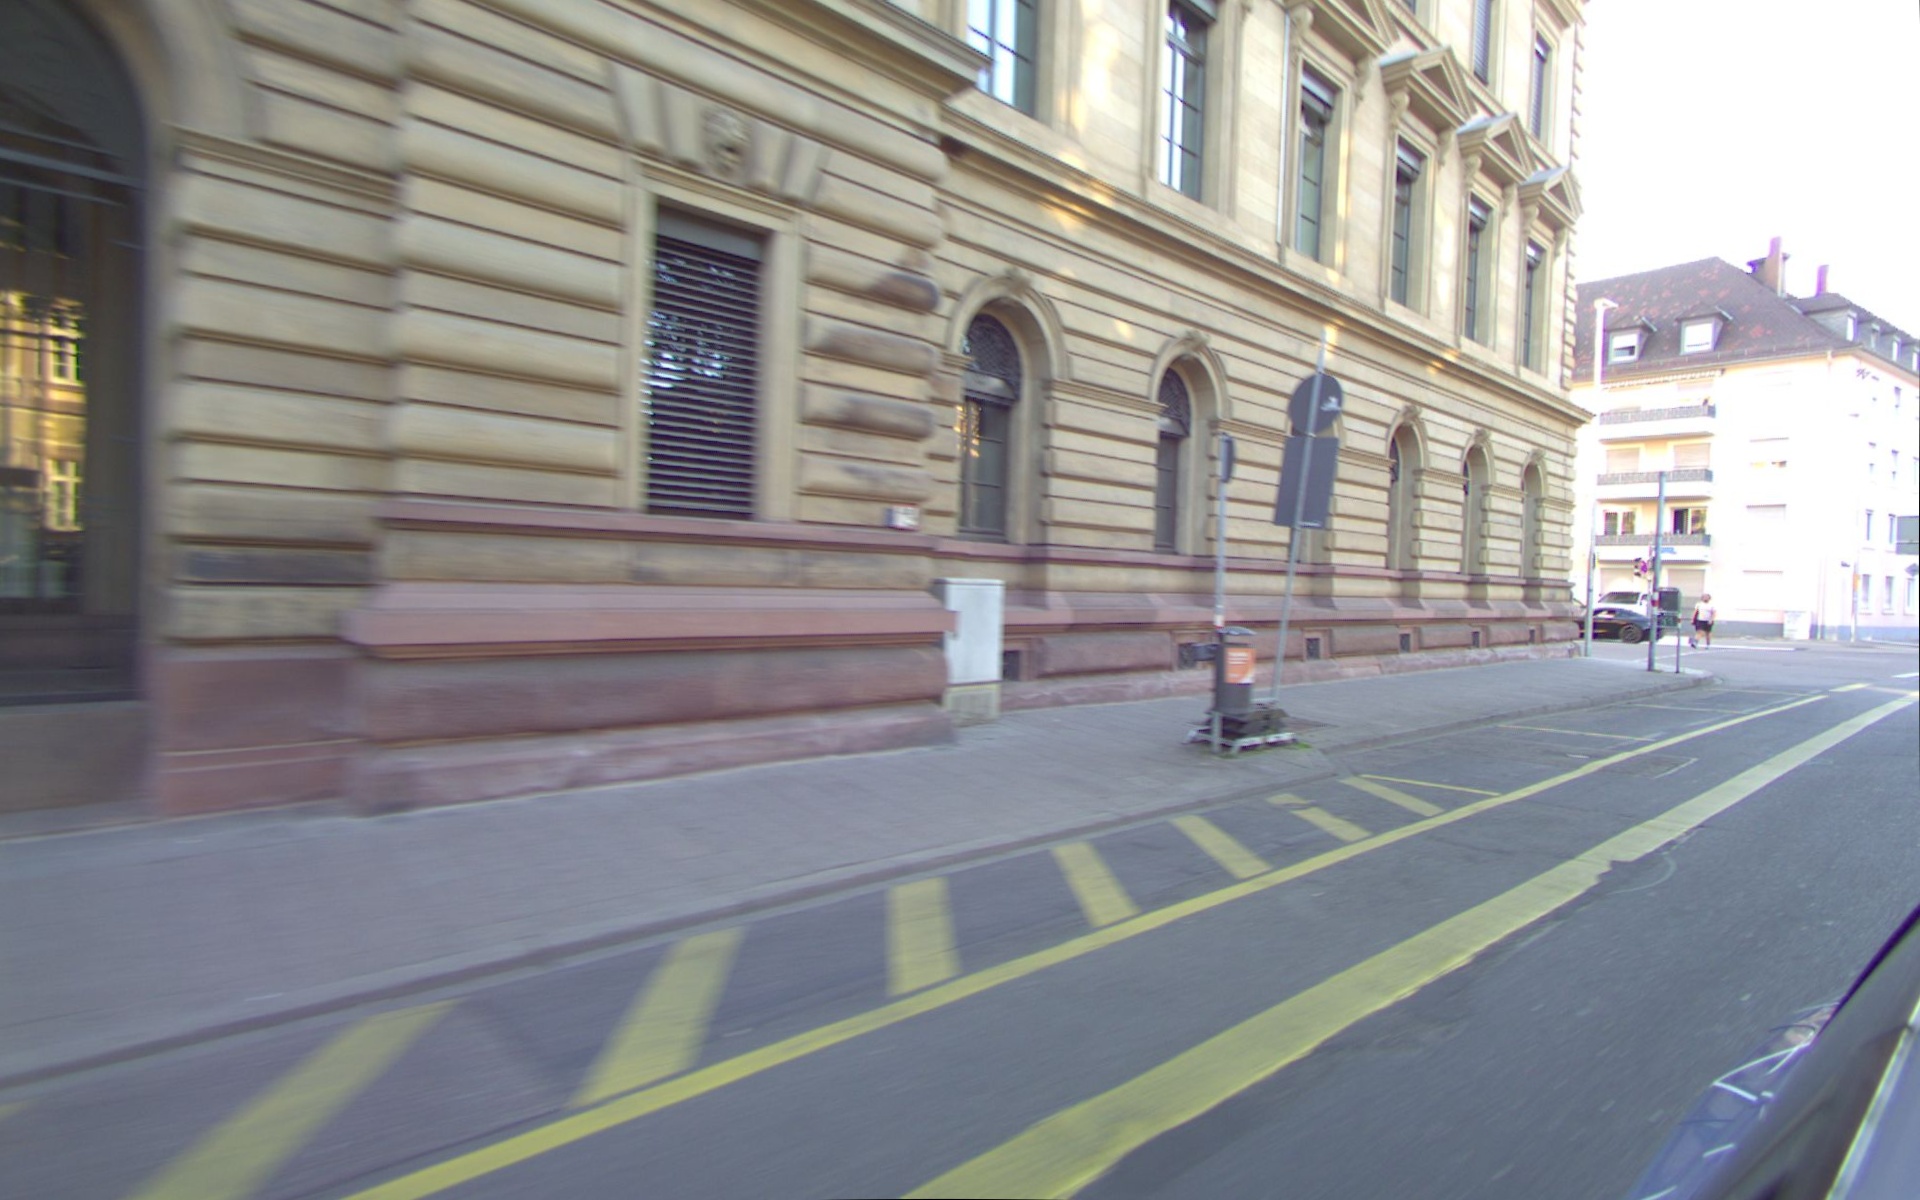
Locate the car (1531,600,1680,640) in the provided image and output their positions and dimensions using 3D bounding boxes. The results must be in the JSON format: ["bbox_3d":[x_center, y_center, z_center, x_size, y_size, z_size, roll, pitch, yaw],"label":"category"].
[{"bbox_3d":[23.210,0.676,36.456,4.337,1.317,2.154,1,0,40],"label":"car"}]

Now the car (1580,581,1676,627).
[{"bbox_3d":[27.928,0.157,42.270,4.392,1.771,2.000,1,2,-37],"label":"car"}]

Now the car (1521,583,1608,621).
[{"bbox_3d":[26.559,0.096,44.425,3.954,1.532,1.925,1,2,-37],"label":"car"}]

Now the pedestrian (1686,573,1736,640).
[{"bbox_3d":[23.572,0.197,31.791,0.973,2.039,0.789,1,1,-19],"label":"pedestrian"}]
